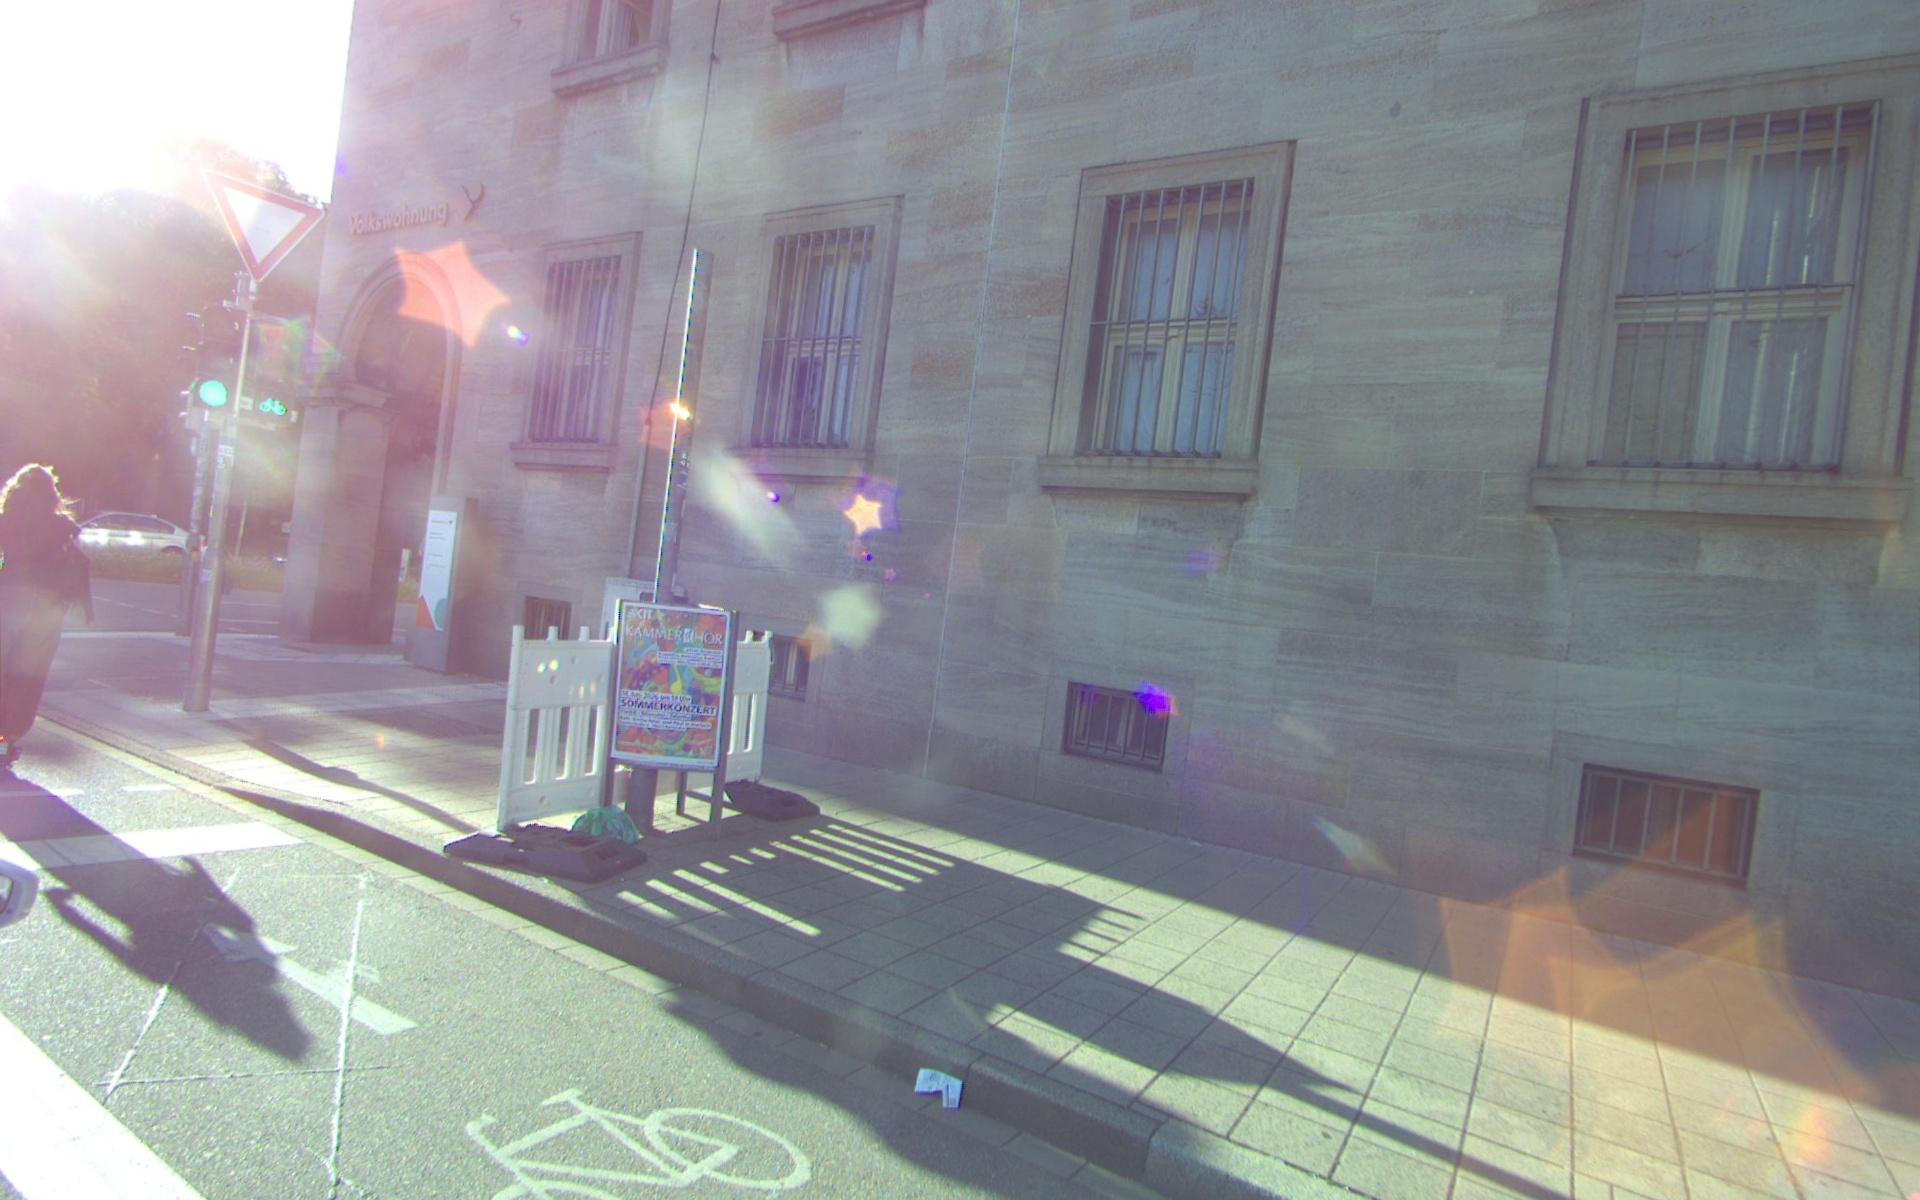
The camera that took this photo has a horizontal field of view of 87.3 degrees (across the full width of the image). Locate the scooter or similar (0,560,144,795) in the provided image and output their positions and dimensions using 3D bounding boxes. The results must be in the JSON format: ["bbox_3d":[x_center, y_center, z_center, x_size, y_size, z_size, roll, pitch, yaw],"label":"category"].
[{"bbox_3d":[-5.309,0.390,5.691,1.250,1.163,0.574,6,-1,30],"label":"scooter or similar"}]

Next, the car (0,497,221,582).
[{"bbox_3d":[-23.056,-1.584,27.076,1.967,1.533,4.586,6,-3,32],"label":"car"}]

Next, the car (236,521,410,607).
[{"bbox_3d":[-19.858,-1.080,31.532,1.968,2.036,3.994,6,-2,33],"label":"car"}]

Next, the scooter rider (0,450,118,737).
[{"bbox_3d":[-5.456,-0.036,5.863,0.567,1.581,0.546,6,-1,30],"label":"scooter rider"}]
